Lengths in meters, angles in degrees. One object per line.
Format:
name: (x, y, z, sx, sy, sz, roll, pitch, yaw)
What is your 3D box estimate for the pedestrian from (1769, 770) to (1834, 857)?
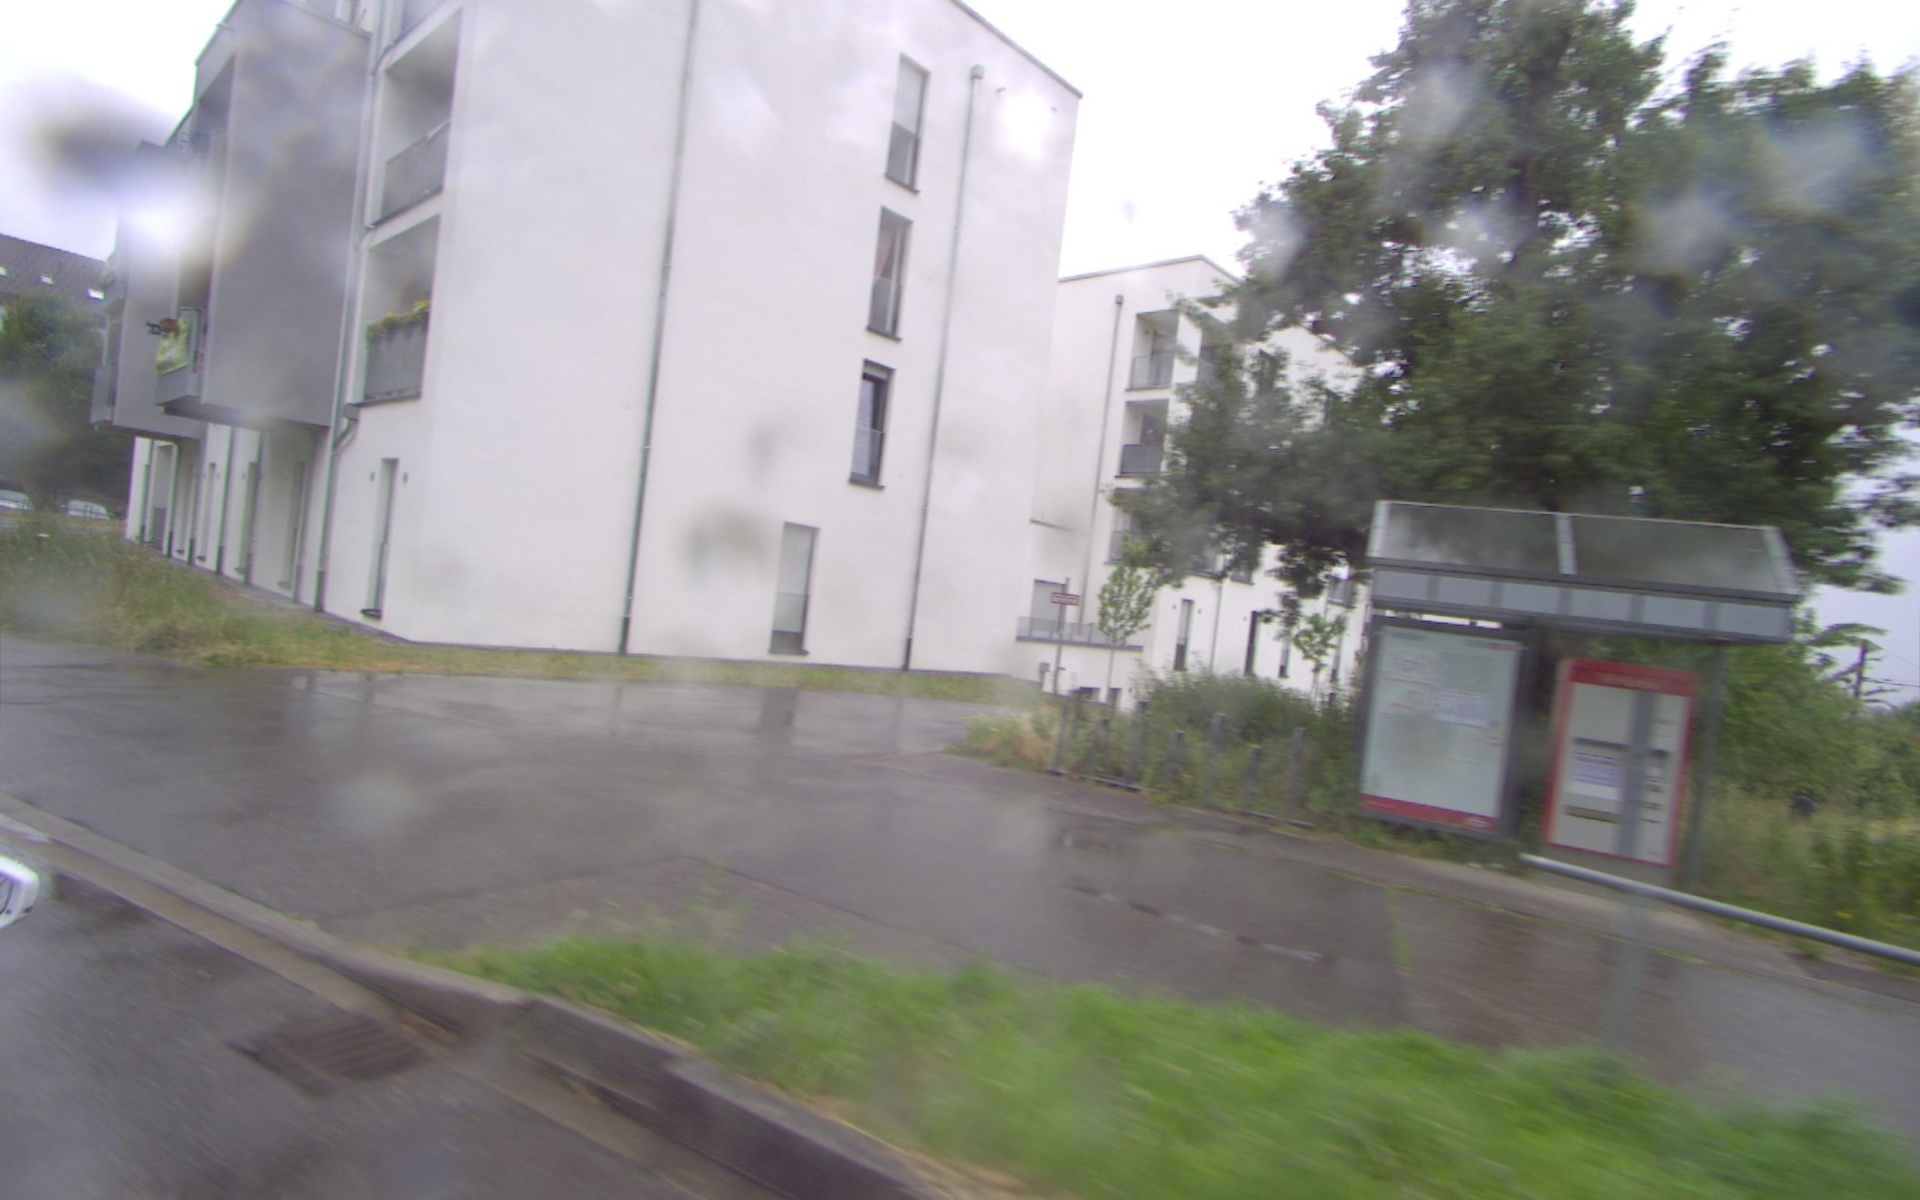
pedestrian: (22.298, 5.645, 26.664, 0.762, 2.038, 0.770, 8, 1, -5)

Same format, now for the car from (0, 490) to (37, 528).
car: (-42.693, -4.083, 44.816, 3.654, 1.458, 1.715, 4, -2, 39)
